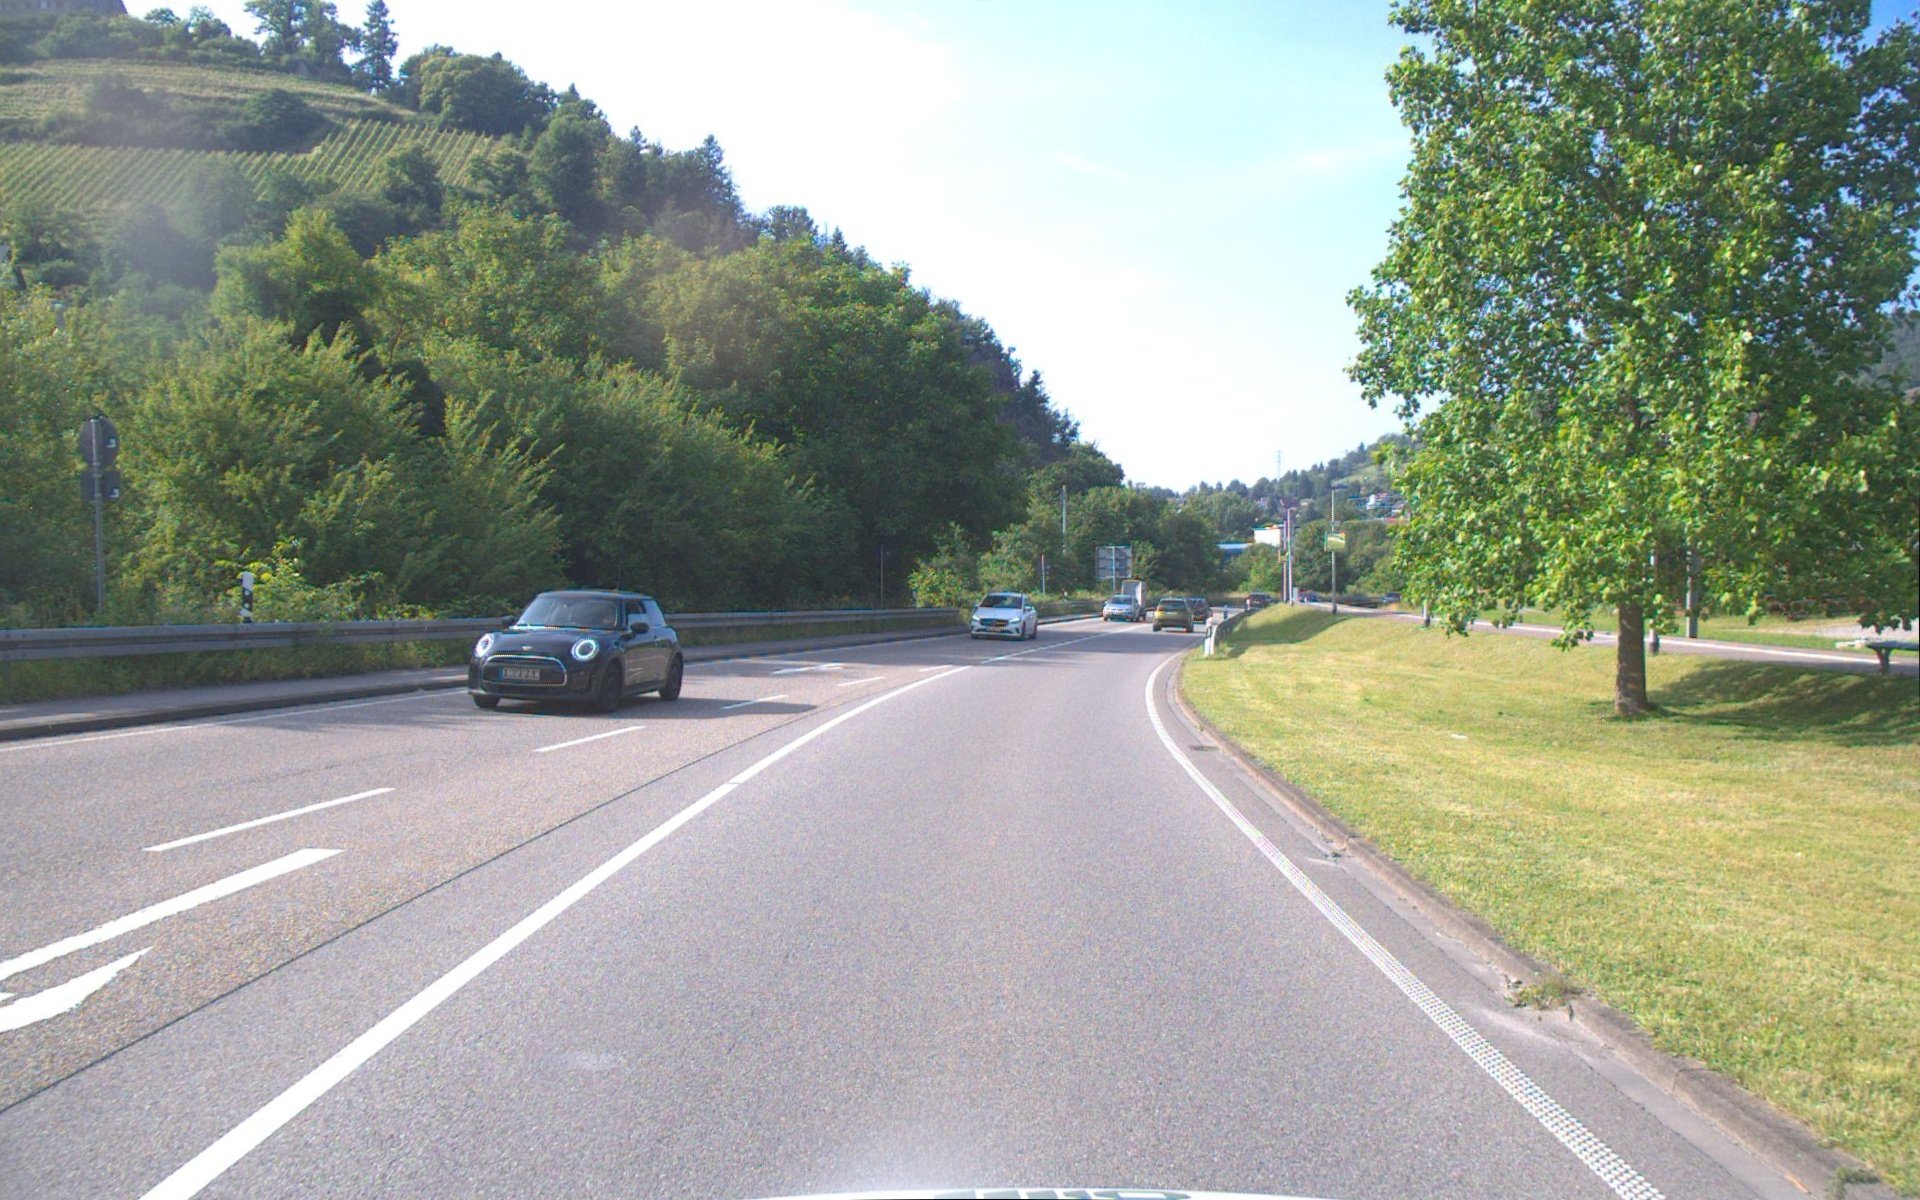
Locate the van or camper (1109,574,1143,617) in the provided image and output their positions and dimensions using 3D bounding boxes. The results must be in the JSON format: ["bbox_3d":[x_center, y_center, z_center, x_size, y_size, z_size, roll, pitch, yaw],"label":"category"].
[{"bbox_3d":[9.852,-0.277,97.891,1.568,2.369,4.063,2,1,10],"label":"van or camper"}]

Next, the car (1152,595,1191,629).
[{"bbox_3d":[9.527,0.531,74.510,1.691,1.482,3.413,-1,0,7],"label":"car"}]

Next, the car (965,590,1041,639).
[{"bbox_3d":[1.504,0.455,55.917,1.903,1.512,4.589,2,1,9],"label":"car"}]

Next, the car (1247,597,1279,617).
[{"bbox_3d":[23.588,0.556,128.630,1.770,1.478,3.647,-1,0,22],"label":"car"}]

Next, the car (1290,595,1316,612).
[{"bbox_3d":[31.246,0.328,150.782,1.771,1.433,3.774,-1,0,20],"label":"car"}]

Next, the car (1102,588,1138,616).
[{"bbox_3d":[9.060,0.094,93.611,1.613,1.461,4.610,2,1,10],"label":"car"}]

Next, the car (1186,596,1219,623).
[{"bbox_3d":[14.056,0.547,95.728,1.801,1.485,3.716,-1,0,9],"label":"car"}]

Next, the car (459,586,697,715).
[{"bbox_3d":[-4.678,0.560,20.890,1.658,1.426,4.204,1,0,5],"label":"car"}]
